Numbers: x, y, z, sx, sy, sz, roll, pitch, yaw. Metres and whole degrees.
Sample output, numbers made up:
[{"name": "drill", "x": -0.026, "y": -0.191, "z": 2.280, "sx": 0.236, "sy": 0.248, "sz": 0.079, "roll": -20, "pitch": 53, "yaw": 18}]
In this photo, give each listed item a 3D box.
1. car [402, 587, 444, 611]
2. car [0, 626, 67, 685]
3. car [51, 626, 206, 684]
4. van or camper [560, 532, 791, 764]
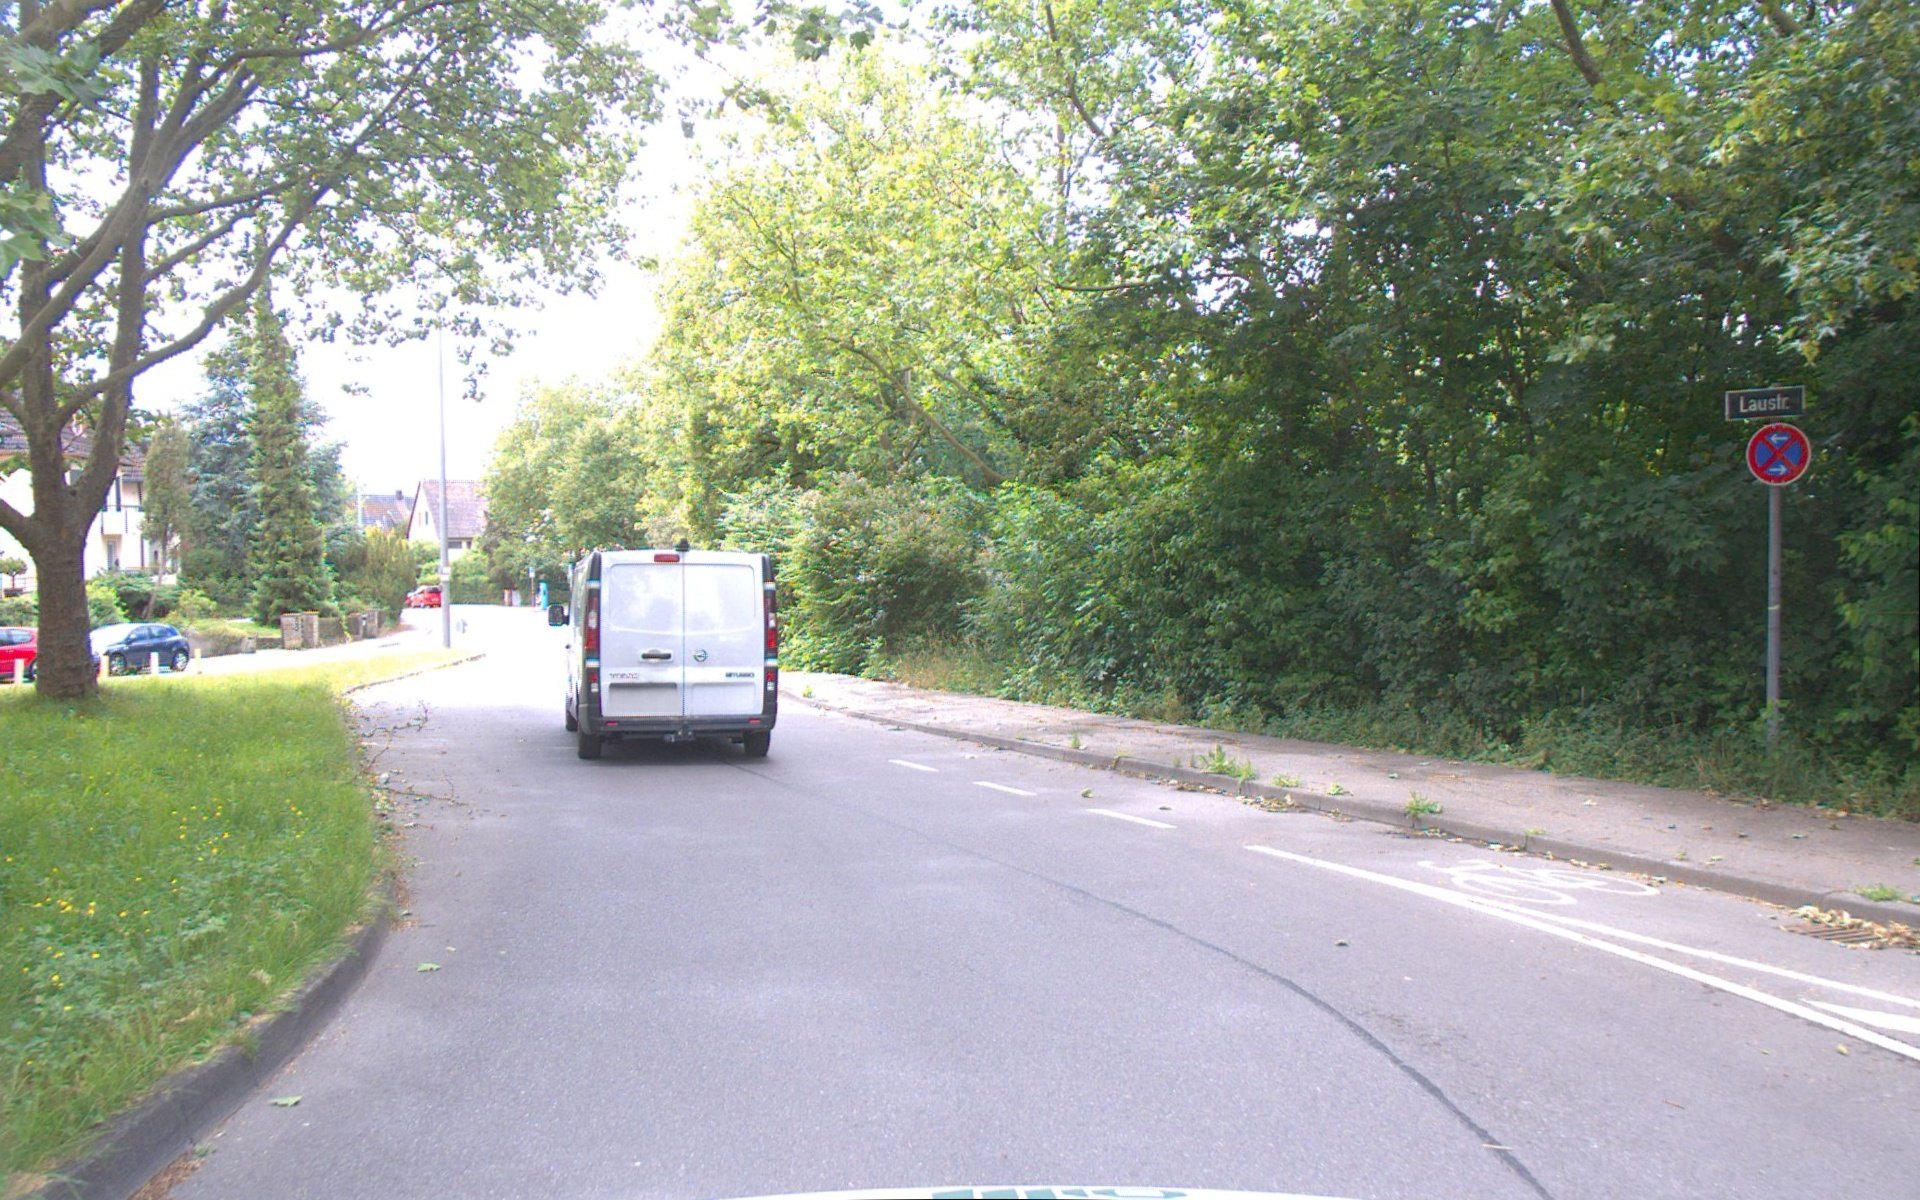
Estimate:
[{"name": "car", "x": -43.773, "y": -0.108, "z": 134.764, "sx": 1.748, "sy": 1.828, "sz": 4.883, "roll": -2, "pitch": 1, "yaw": -37}, {"name": "car", "x": -25.783, "y": 1.484, "z": 43.291, "sx": 1.690, "sy": 1.499, "sz": 4.281, "roll": -1, "pitch": 0, "yaw": 17}, {"name": "car", "x": -24.037, "y": 1.553, "z": 47.994, "sx": 1.690, "sy": 1.499, "sz": 4.318, "roll": -1, "pitch": 0, "yaw": 12}, {"name": "van or camper", "x": -3.097, "y": 0.324, "z": 17.185, "sx": 1.893, "sy": 2.048, "sz": 4.810, "roll": -1, "pitch": 2, "yaw": -16}]
